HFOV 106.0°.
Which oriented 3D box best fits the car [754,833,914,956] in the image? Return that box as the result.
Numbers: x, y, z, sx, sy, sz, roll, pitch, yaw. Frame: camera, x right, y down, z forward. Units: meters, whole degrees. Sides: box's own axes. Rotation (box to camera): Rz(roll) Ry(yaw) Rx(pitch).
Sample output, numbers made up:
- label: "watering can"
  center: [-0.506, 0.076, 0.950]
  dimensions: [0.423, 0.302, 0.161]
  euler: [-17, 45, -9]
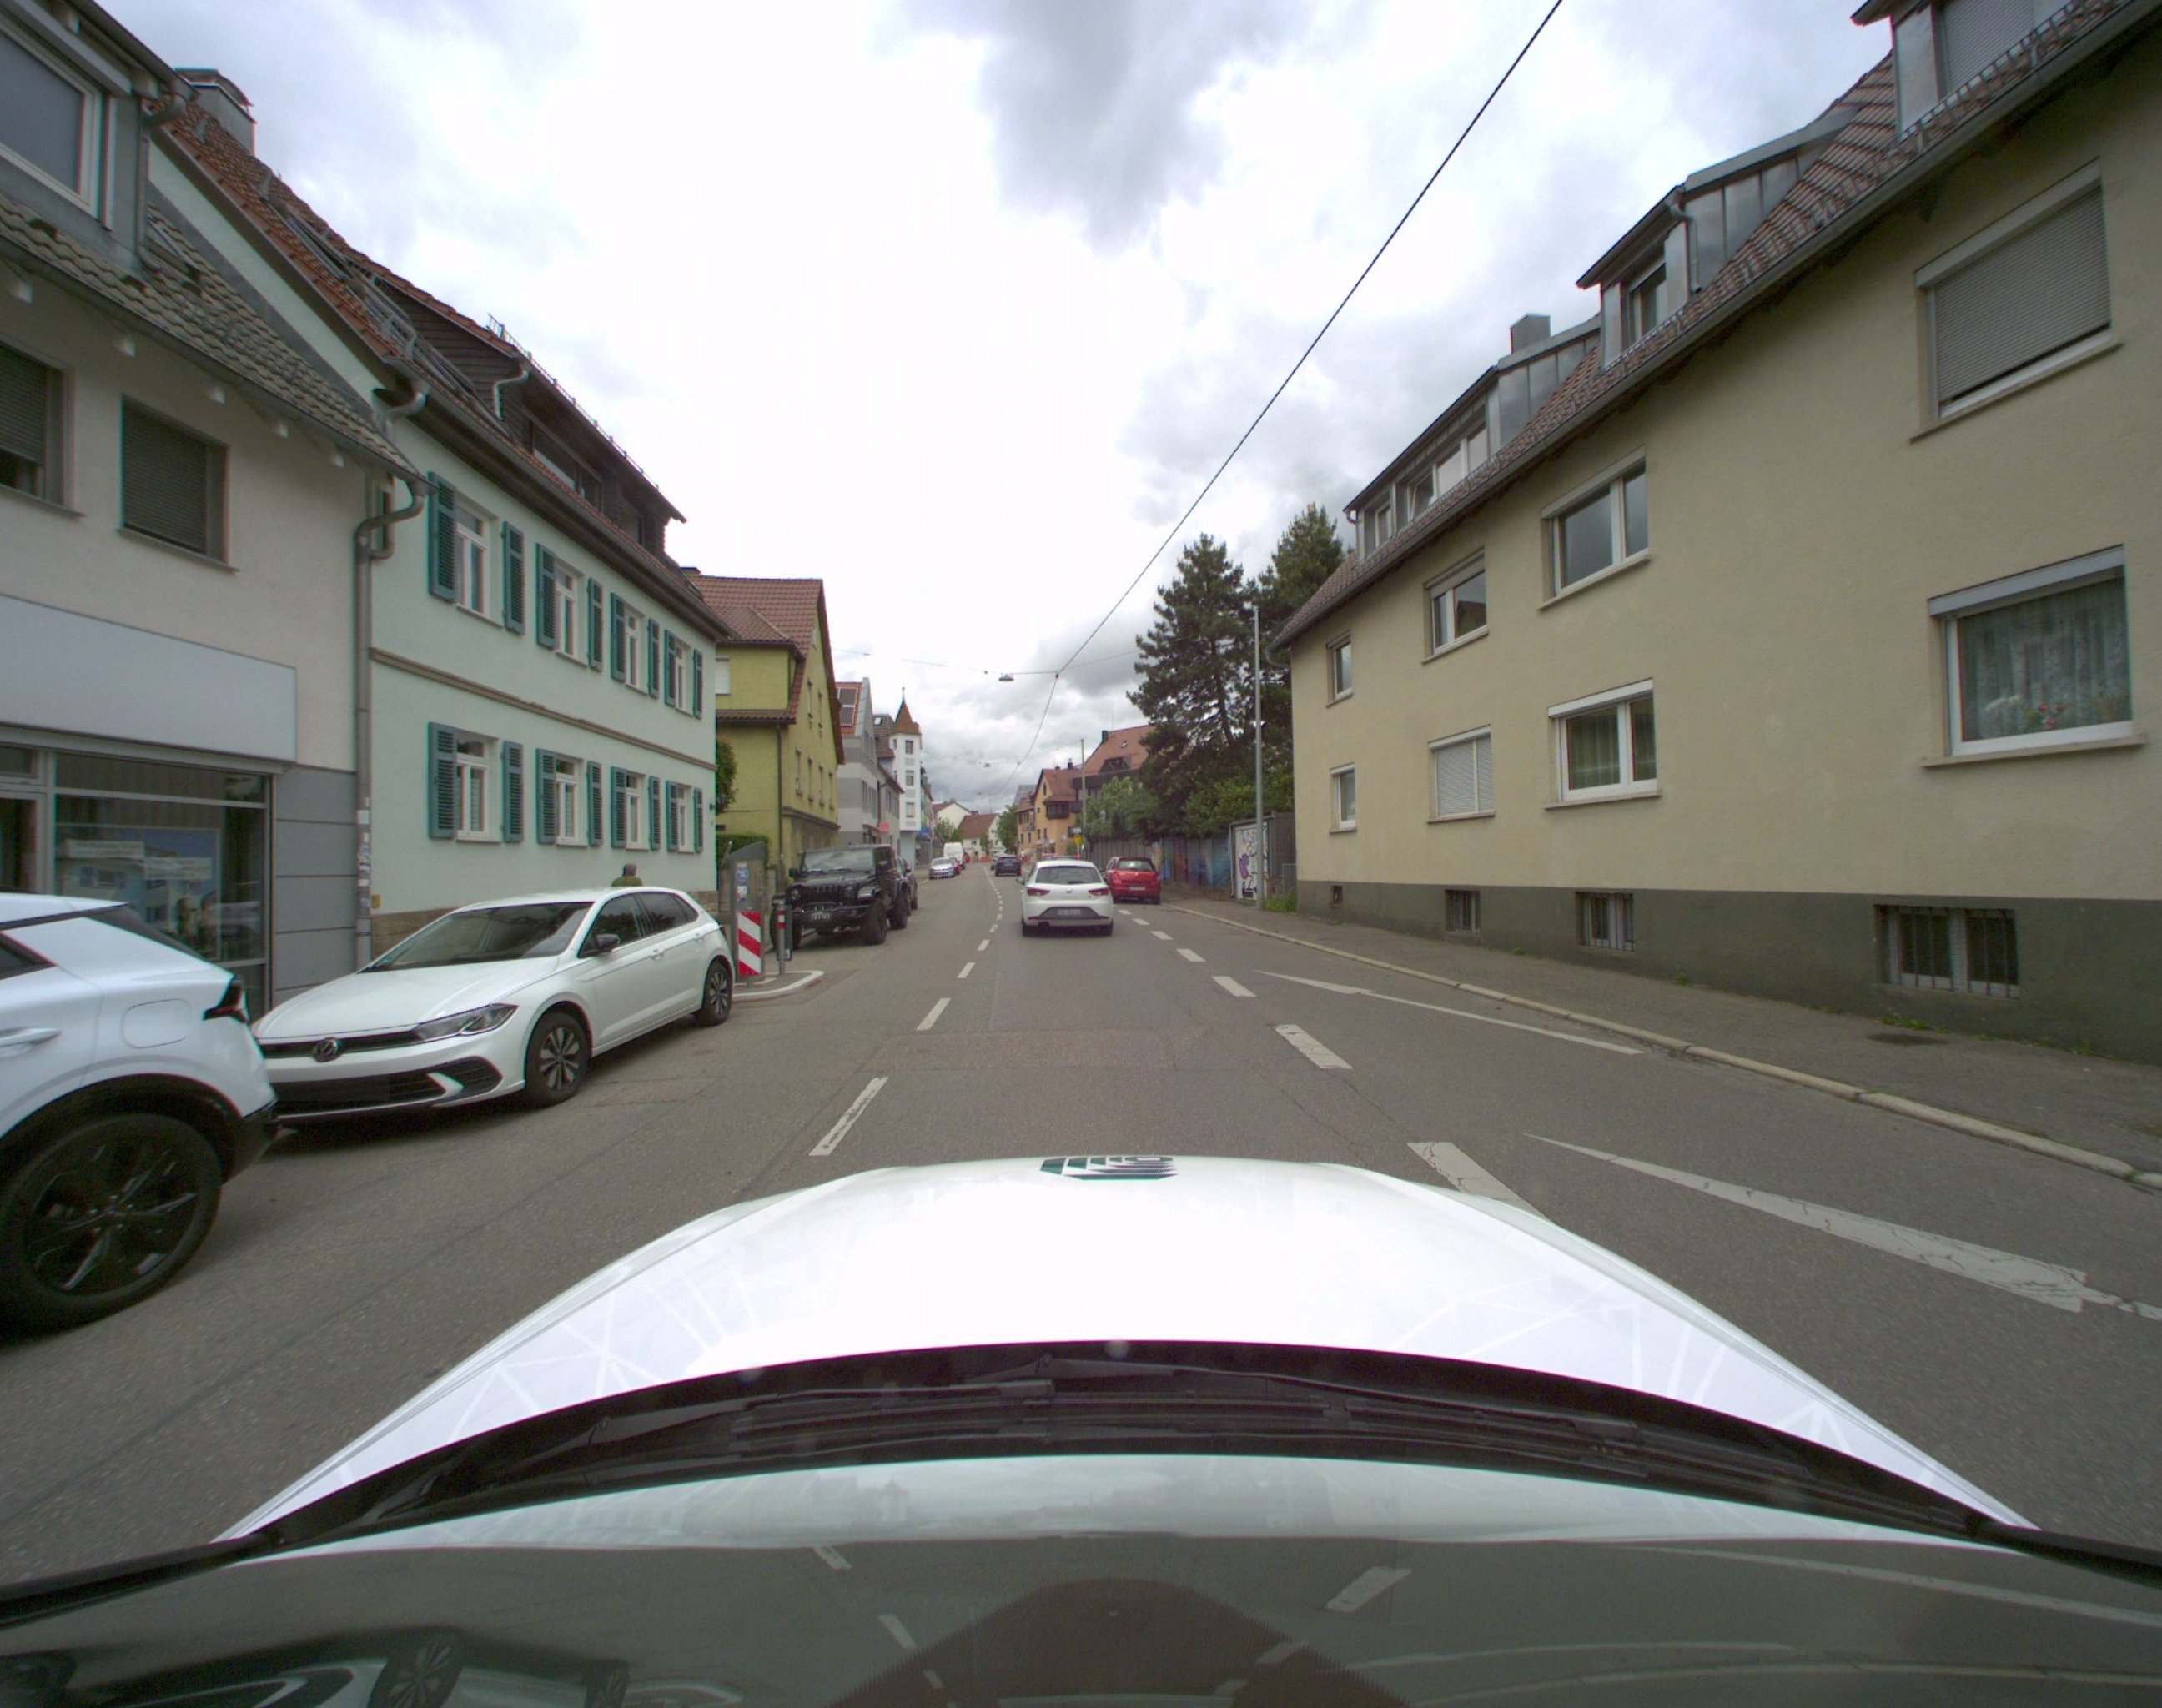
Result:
- label: "car"
  center: [-4.774, 0.682, 16.532]
  dimensions: [1.990, 2.013, 4.664]
  euler: [-4, 0, -4]

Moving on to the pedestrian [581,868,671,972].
- label: "pedestrian"
  center: [-6.896, 0.969, 12.384]
  dimensions: [0.804, 1.500, 0.975]
  euler: [1, -1, -2]

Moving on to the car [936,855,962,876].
- label: "car"
  center: [-10.301, 0.870, 63.684]
  dimensions: [1.798, 1.479, 4.040]
  euler: [-4, 0, -7]

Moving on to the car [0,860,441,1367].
- label: "car"
  center: [-4.536, 0.867, 2.003]
  dimensions: [1.991, 1.633, 4.859]
  euler: [-1, 0, 1]

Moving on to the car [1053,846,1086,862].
- label: "car"
  center: [-1.087, 0.018, 77.780]
  dimensions: [2.816, 1.512, 1.698]
  euler: [0, 1, -19]

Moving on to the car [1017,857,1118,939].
- label: "car"
  center: [-0.401, 0.796, 16.821]
  dimensions: [1.756, 1.452, 3.992]
  euler: [-1, 0, -6]

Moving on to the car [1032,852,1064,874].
- label: "car"
  center: [-2.414, 0.632, 57.899]
  dimensions: [1.758, 1.452, 3.986]
  euler: [-1, 0, -10]

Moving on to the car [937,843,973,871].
- label: "car"
  center: [-12.331, 0.285, 80.025]
  dimensions: [2.142, 2.687, 5.553]
  euler: [0, 0, 5]

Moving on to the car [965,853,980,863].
- label: "car"
  center: [-19.330, 0.768, 145.034]
  dimensions: [1.786, 1.701, 4.004]
  euler: [-1, 0, 3]

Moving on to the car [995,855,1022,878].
- label: "car"
  center: [-5.008, 0.845, 55.972]
  dimensions: [1.756, 1.452, 3.991]
  euler: [-1, 0, -6]

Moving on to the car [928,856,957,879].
- label: "car"
  center: [-9.837, 0.953, 58.085]
  dimensions: [1.798, 1.479, 4.040]
  euler: [-4, 0, -7]

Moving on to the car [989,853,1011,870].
- label: "car"
  center: [-7.268, 0.681, 72.815]
  dimensions: [1.757, 1.452, 3.990]
  euler: [-1, 0, -7]

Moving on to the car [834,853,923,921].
- label: "car"
  center: [-5.751, 0.854, 23.685]
  dimensions: [1.895, 1.619, 4.514]
  euler: [-3, 1, -7]

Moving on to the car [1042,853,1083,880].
- label: "car"
  center: [-1.129, 0.697, 47.001]
  dimensions: [1.758, 1.452, 3.986]
  euler: [-1, 0, -10]

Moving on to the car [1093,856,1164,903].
- label: "car"
  center: [1.500, 0.805, 27.304]
  dimensions: [1.756, 1.452, 3.992]
  euler: [1, 0, -6]

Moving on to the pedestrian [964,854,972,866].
- label: "pedestrian"
  center: [-19.351, 0.984, 139.202]
  dimensions: [1.227, 2.013, 1.173]
  euler: [-1, 0, -7]

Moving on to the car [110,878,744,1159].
- label: "car"
  center: [-4.528, 0.994, 6.604]
  dimensions: [1.992, 1.436, 3.917]
  euler: [-1, 0, -1]
